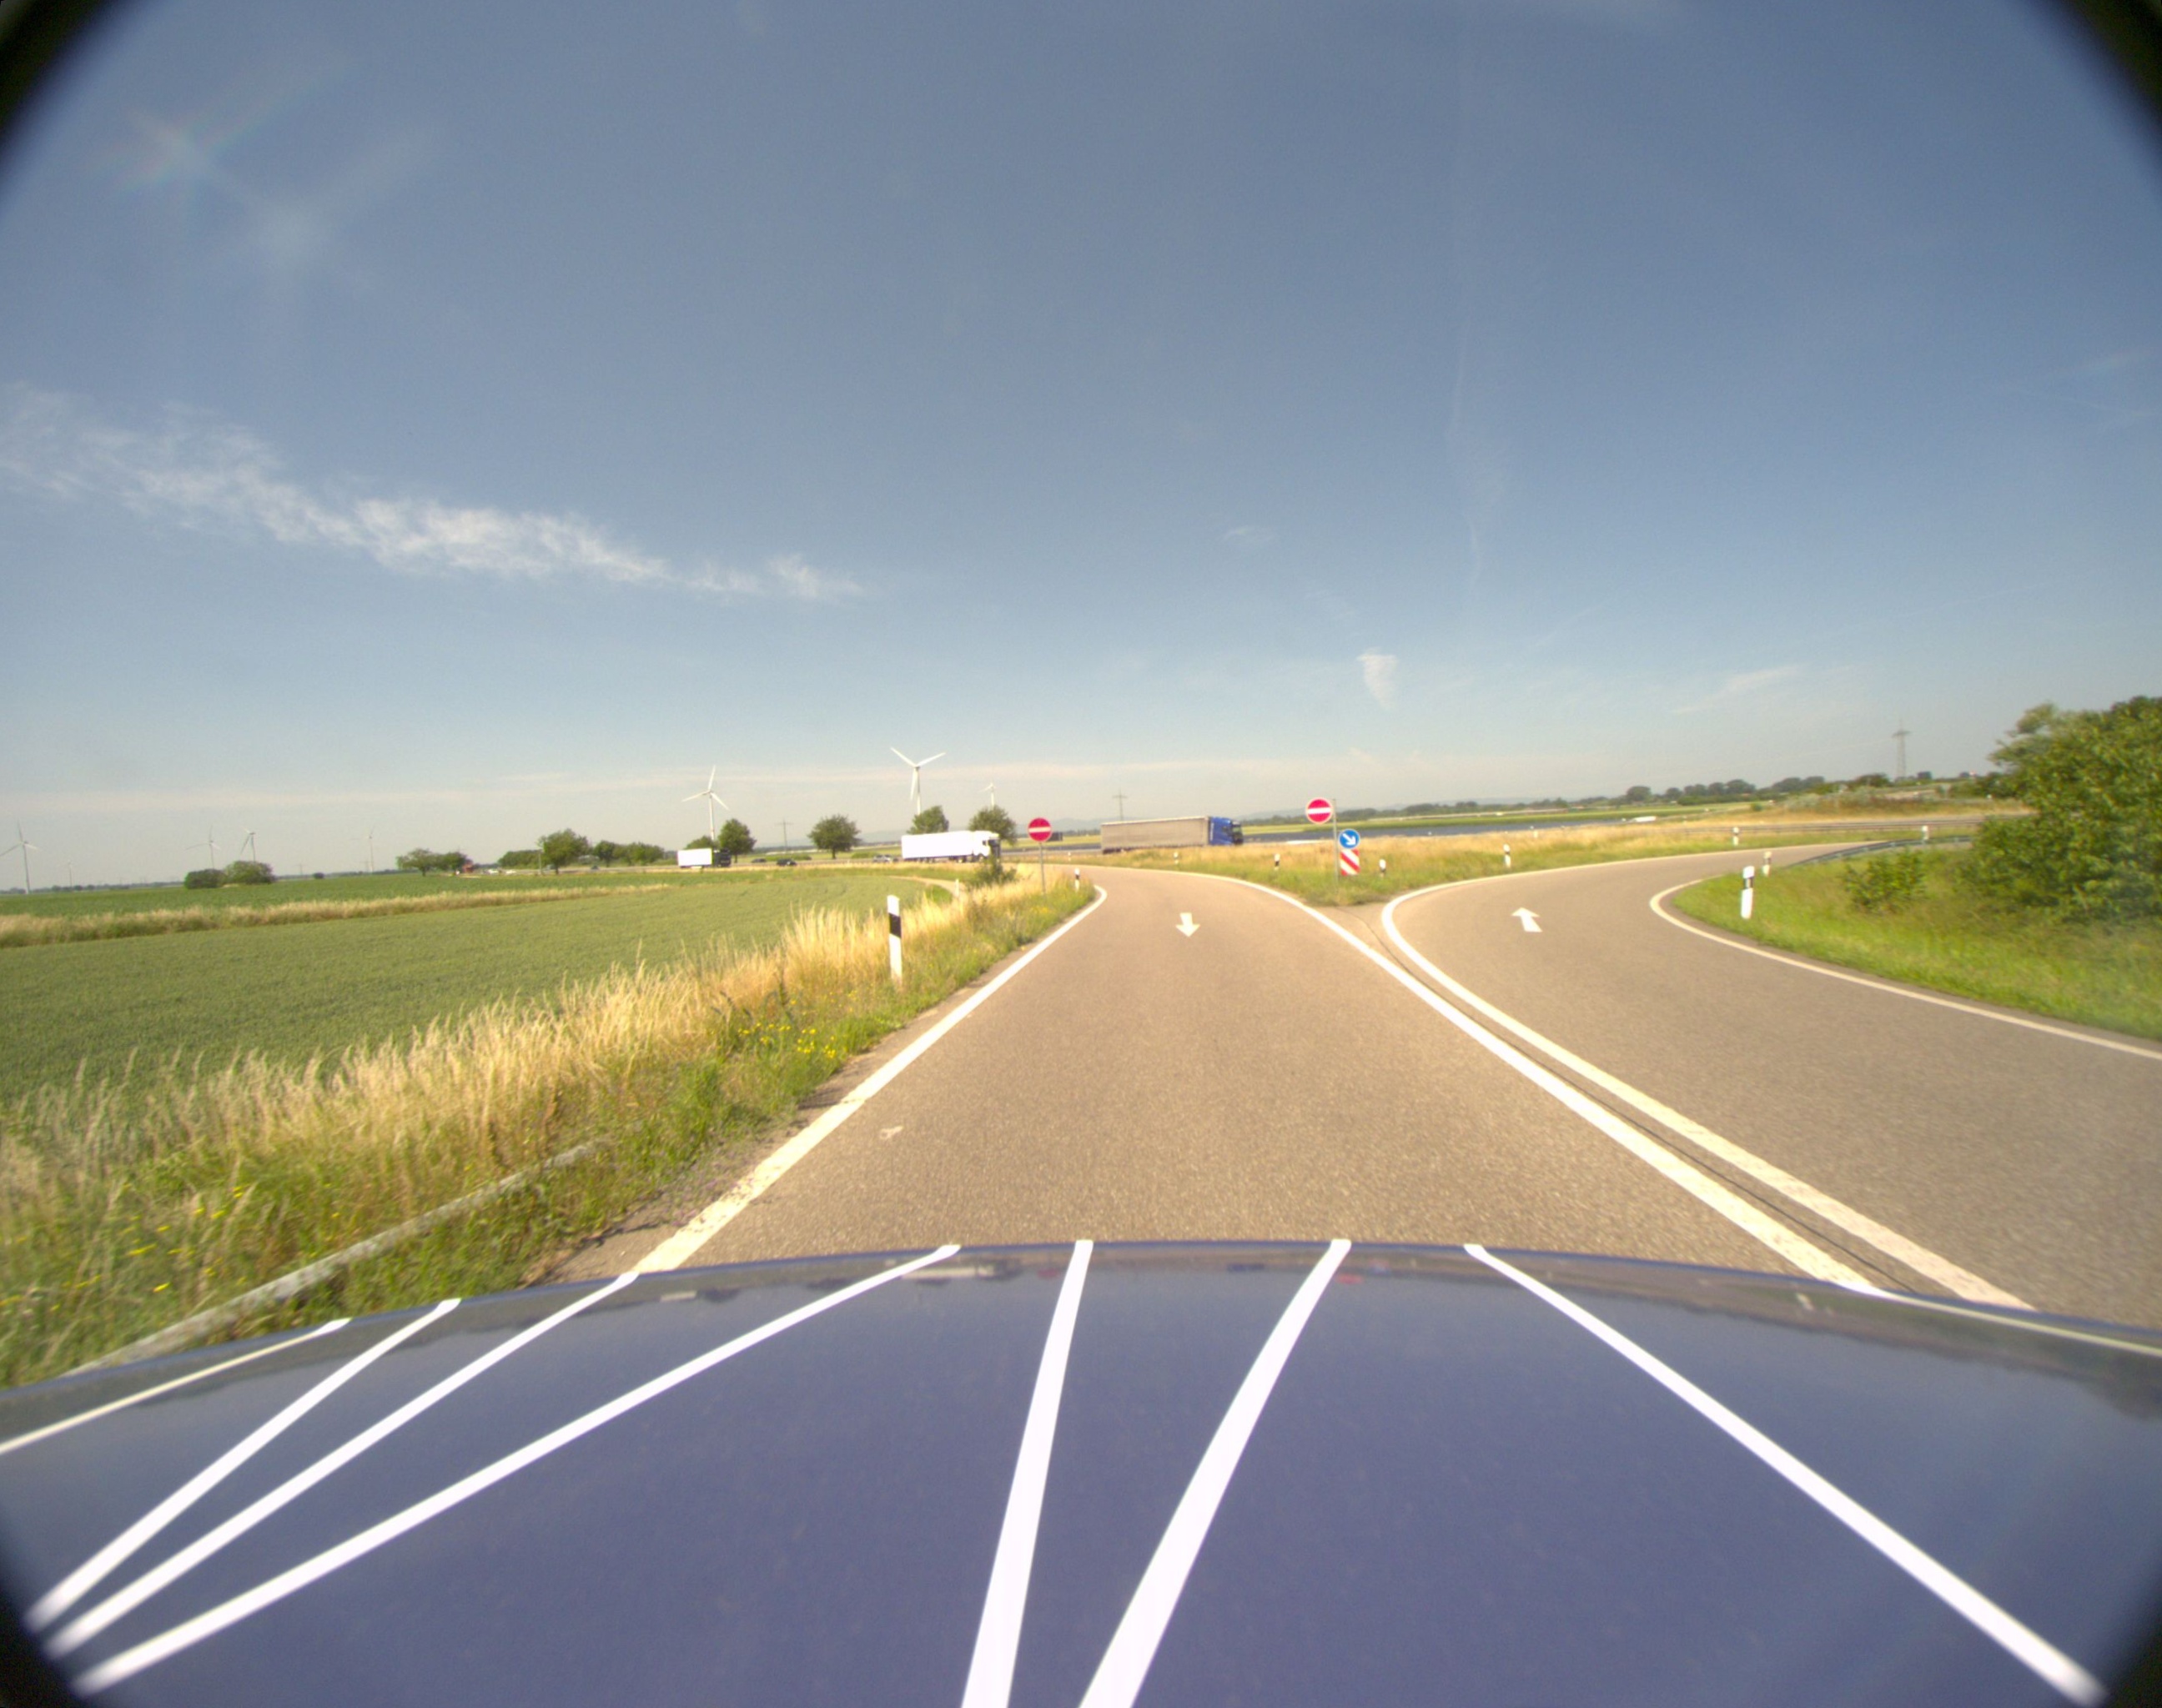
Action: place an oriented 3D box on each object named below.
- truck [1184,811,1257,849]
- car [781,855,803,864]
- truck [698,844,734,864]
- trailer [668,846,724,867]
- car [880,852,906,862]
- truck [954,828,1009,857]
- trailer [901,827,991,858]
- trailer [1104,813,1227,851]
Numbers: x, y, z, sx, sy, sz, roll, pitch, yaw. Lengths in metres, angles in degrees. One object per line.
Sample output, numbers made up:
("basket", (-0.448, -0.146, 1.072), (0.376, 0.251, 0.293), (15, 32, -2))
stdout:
("truck", (14.326, -2.429, 78.493), (6.611, 3.645, 3.121), (-1, 2, 39))
("car", (-50.874, 0.979, 133.845), (3.989, 1.346, 1.685), (-1, 2, 38))
("truck", (-67.460, 0.026, 140.410), (6.219, 3.498, 3.121), (-1, 2, 36))
("trailer", (-73.564, 0.477, 144.833), (14.473, 3.623, 3.108), (-1, 2, 36))
("car", (-28.598, 0.425, 115.594), (3.989, 1.346, 1.685), (-1, 2, 36))
("truck", (-12.837, -1.439, 98.035), (6.437, 3.498, 3.121), (-1, 2, 36))
("trailer", (-18.255, -1.484, 101.974), (13.617, 3.623, 3.108), (-1, 2, 36))
("trailer", (8.978, -2.291, 82.954), (13.766, 3.623, 3.108), (-1, 2, 39))
